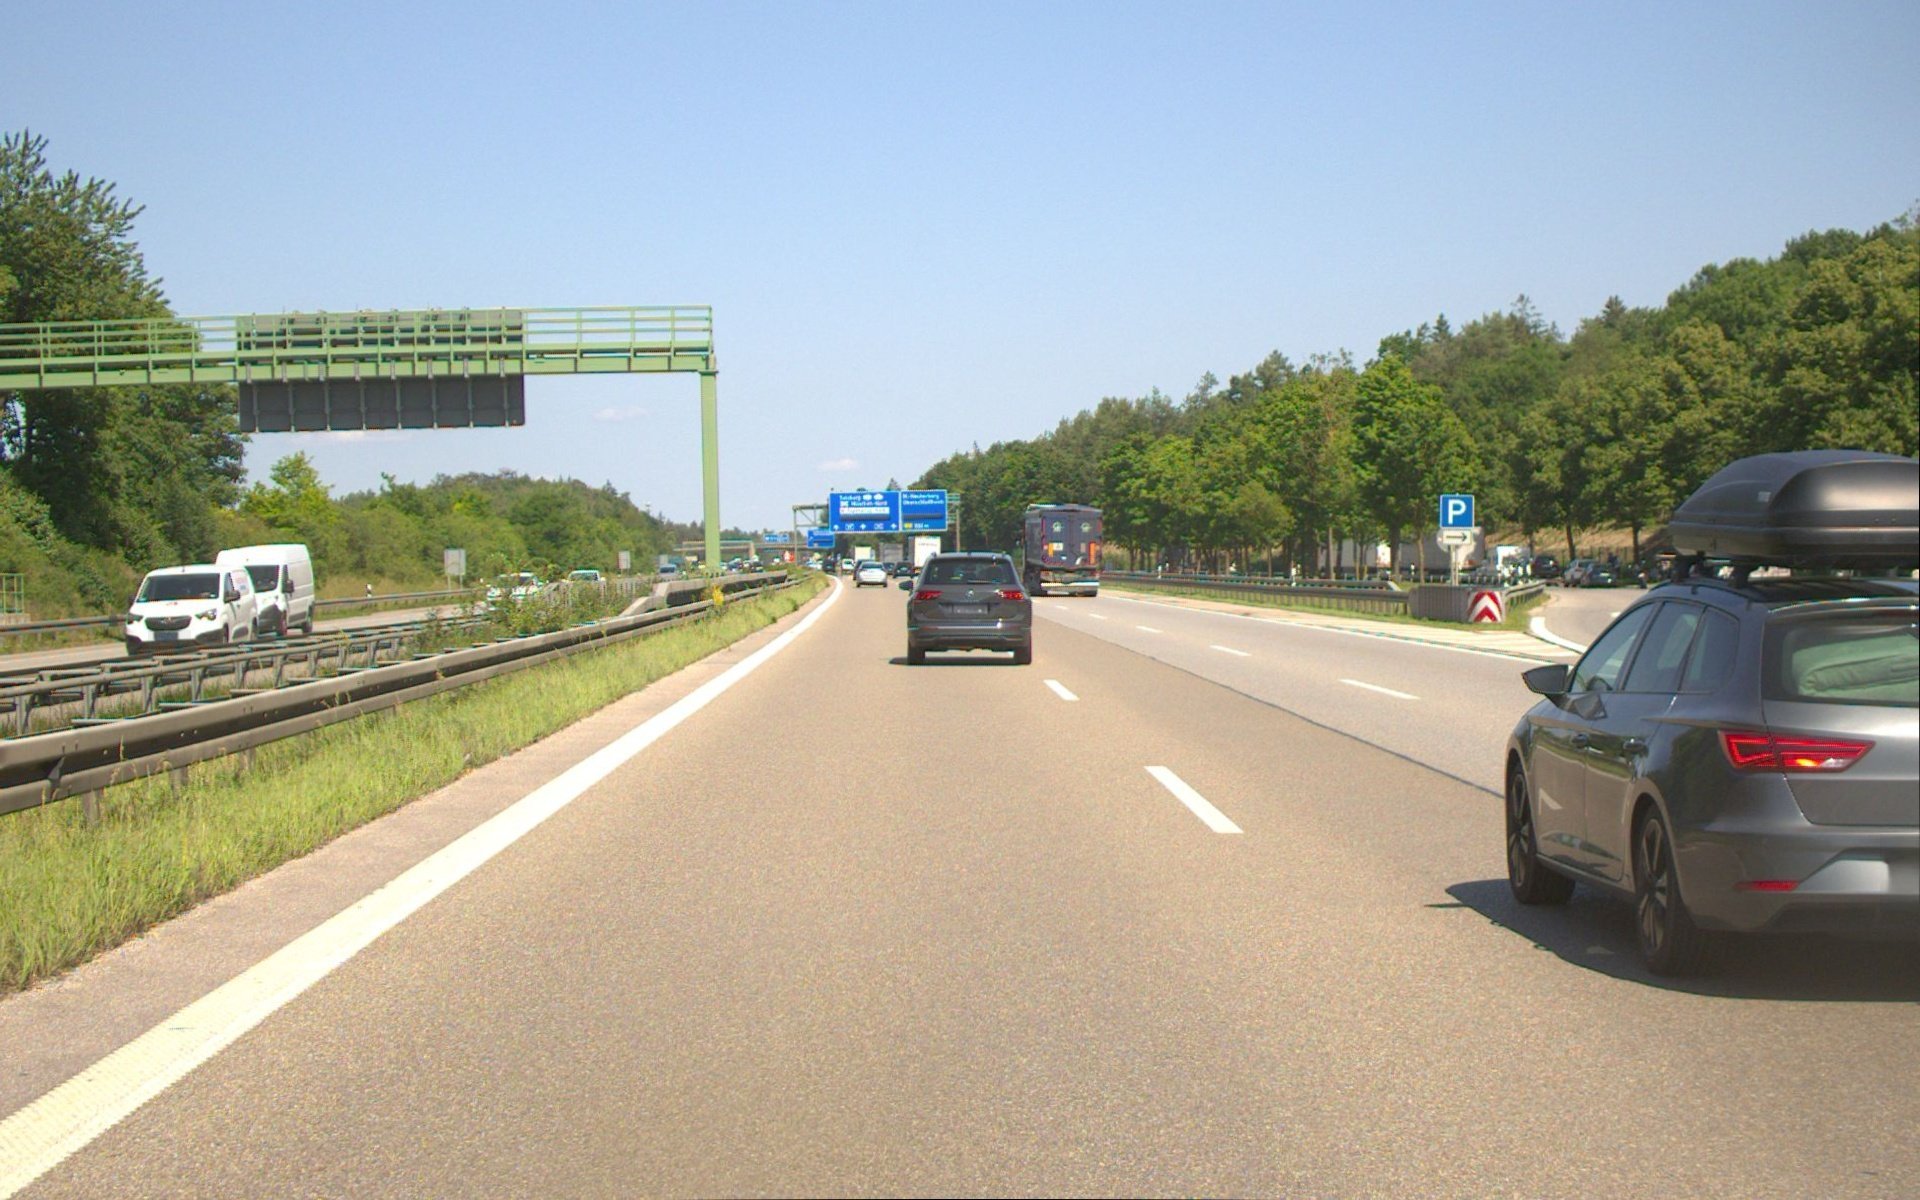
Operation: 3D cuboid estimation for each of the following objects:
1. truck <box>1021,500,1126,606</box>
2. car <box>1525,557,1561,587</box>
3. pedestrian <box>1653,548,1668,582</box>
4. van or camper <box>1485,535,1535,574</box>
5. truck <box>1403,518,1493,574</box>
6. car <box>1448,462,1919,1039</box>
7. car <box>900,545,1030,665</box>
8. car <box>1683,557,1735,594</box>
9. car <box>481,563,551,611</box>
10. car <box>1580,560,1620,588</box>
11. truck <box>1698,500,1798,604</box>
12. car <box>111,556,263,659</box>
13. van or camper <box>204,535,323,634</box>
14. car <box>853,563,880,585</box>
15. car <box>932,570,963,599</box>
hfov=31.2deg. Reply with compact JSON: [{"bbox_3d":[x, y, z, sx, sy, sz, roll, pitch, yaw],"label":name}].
[{"bbox_3d":[4.850,-2.009,149.832,3.780,4.407,14.051,0,1,-1],"label":"truck"},{"bbox_3d":[36.336,-1.749,214.436,1.656,1.871,4.800,0,0,3],"label":"car"},{"bbox_3d":[37.907,-1.894,186.005,0.798,1.776,0.642,-1,1,12],"label":"pedestrian"},{"bbox_3d":[36.340,-2.993,227.247,2.203,2.522,5.876,0,0,-1],"label":"van or camper"},{"bbox_3d":[35.133,-3.856,248.261,2.995,3.918,14.463,0,0,-6],"label":"truck"},{"bbox_3d":[3.175,0.447,13.673,1.665,1.870,4.827,-1,1,-1],"label":"car"},{"bbox_3d":[0.119,0.041,50.643,1.799,1.663,4.258,1,1,1],"label":"car"},{"bbox_3d":[34.772,-1.157,159.693,1.994,1.645,4.317,-1,1,8],"label":"car"},{"bbox_3d":[-16.042,-0.492,124.338,1.878,1.605,5.310,-2,1,-1],"label":"car"},{"bbox_3d":[36.913,-1.498,198.429,1.994,1.568,3.999,0,0,7],"label":"car"},{"bbox_3d":[31.138,-1.909,136.102,3.287,3.933,9.347,-1,1,10],"label":"truck"},{"bbox_3d":[-14.608,0.106,65.204,1.746,1.824,5.169,-2,1,-1],"label":"car"},{"bbox_3d":[-19.074,-0.451,94.387,2.038,2.551,6.199,-2,1,-1],"label":"van or camper"},{"bbox_3d":[-5.272,-1.498,194.505,1.471,1.223,3.410,-1,1,-1],"label":"car"},{"bbox_3d":[-0.627,-0.793,175.189,1.471,1.393,3.410,2,0,-1],"label":"car"}]
